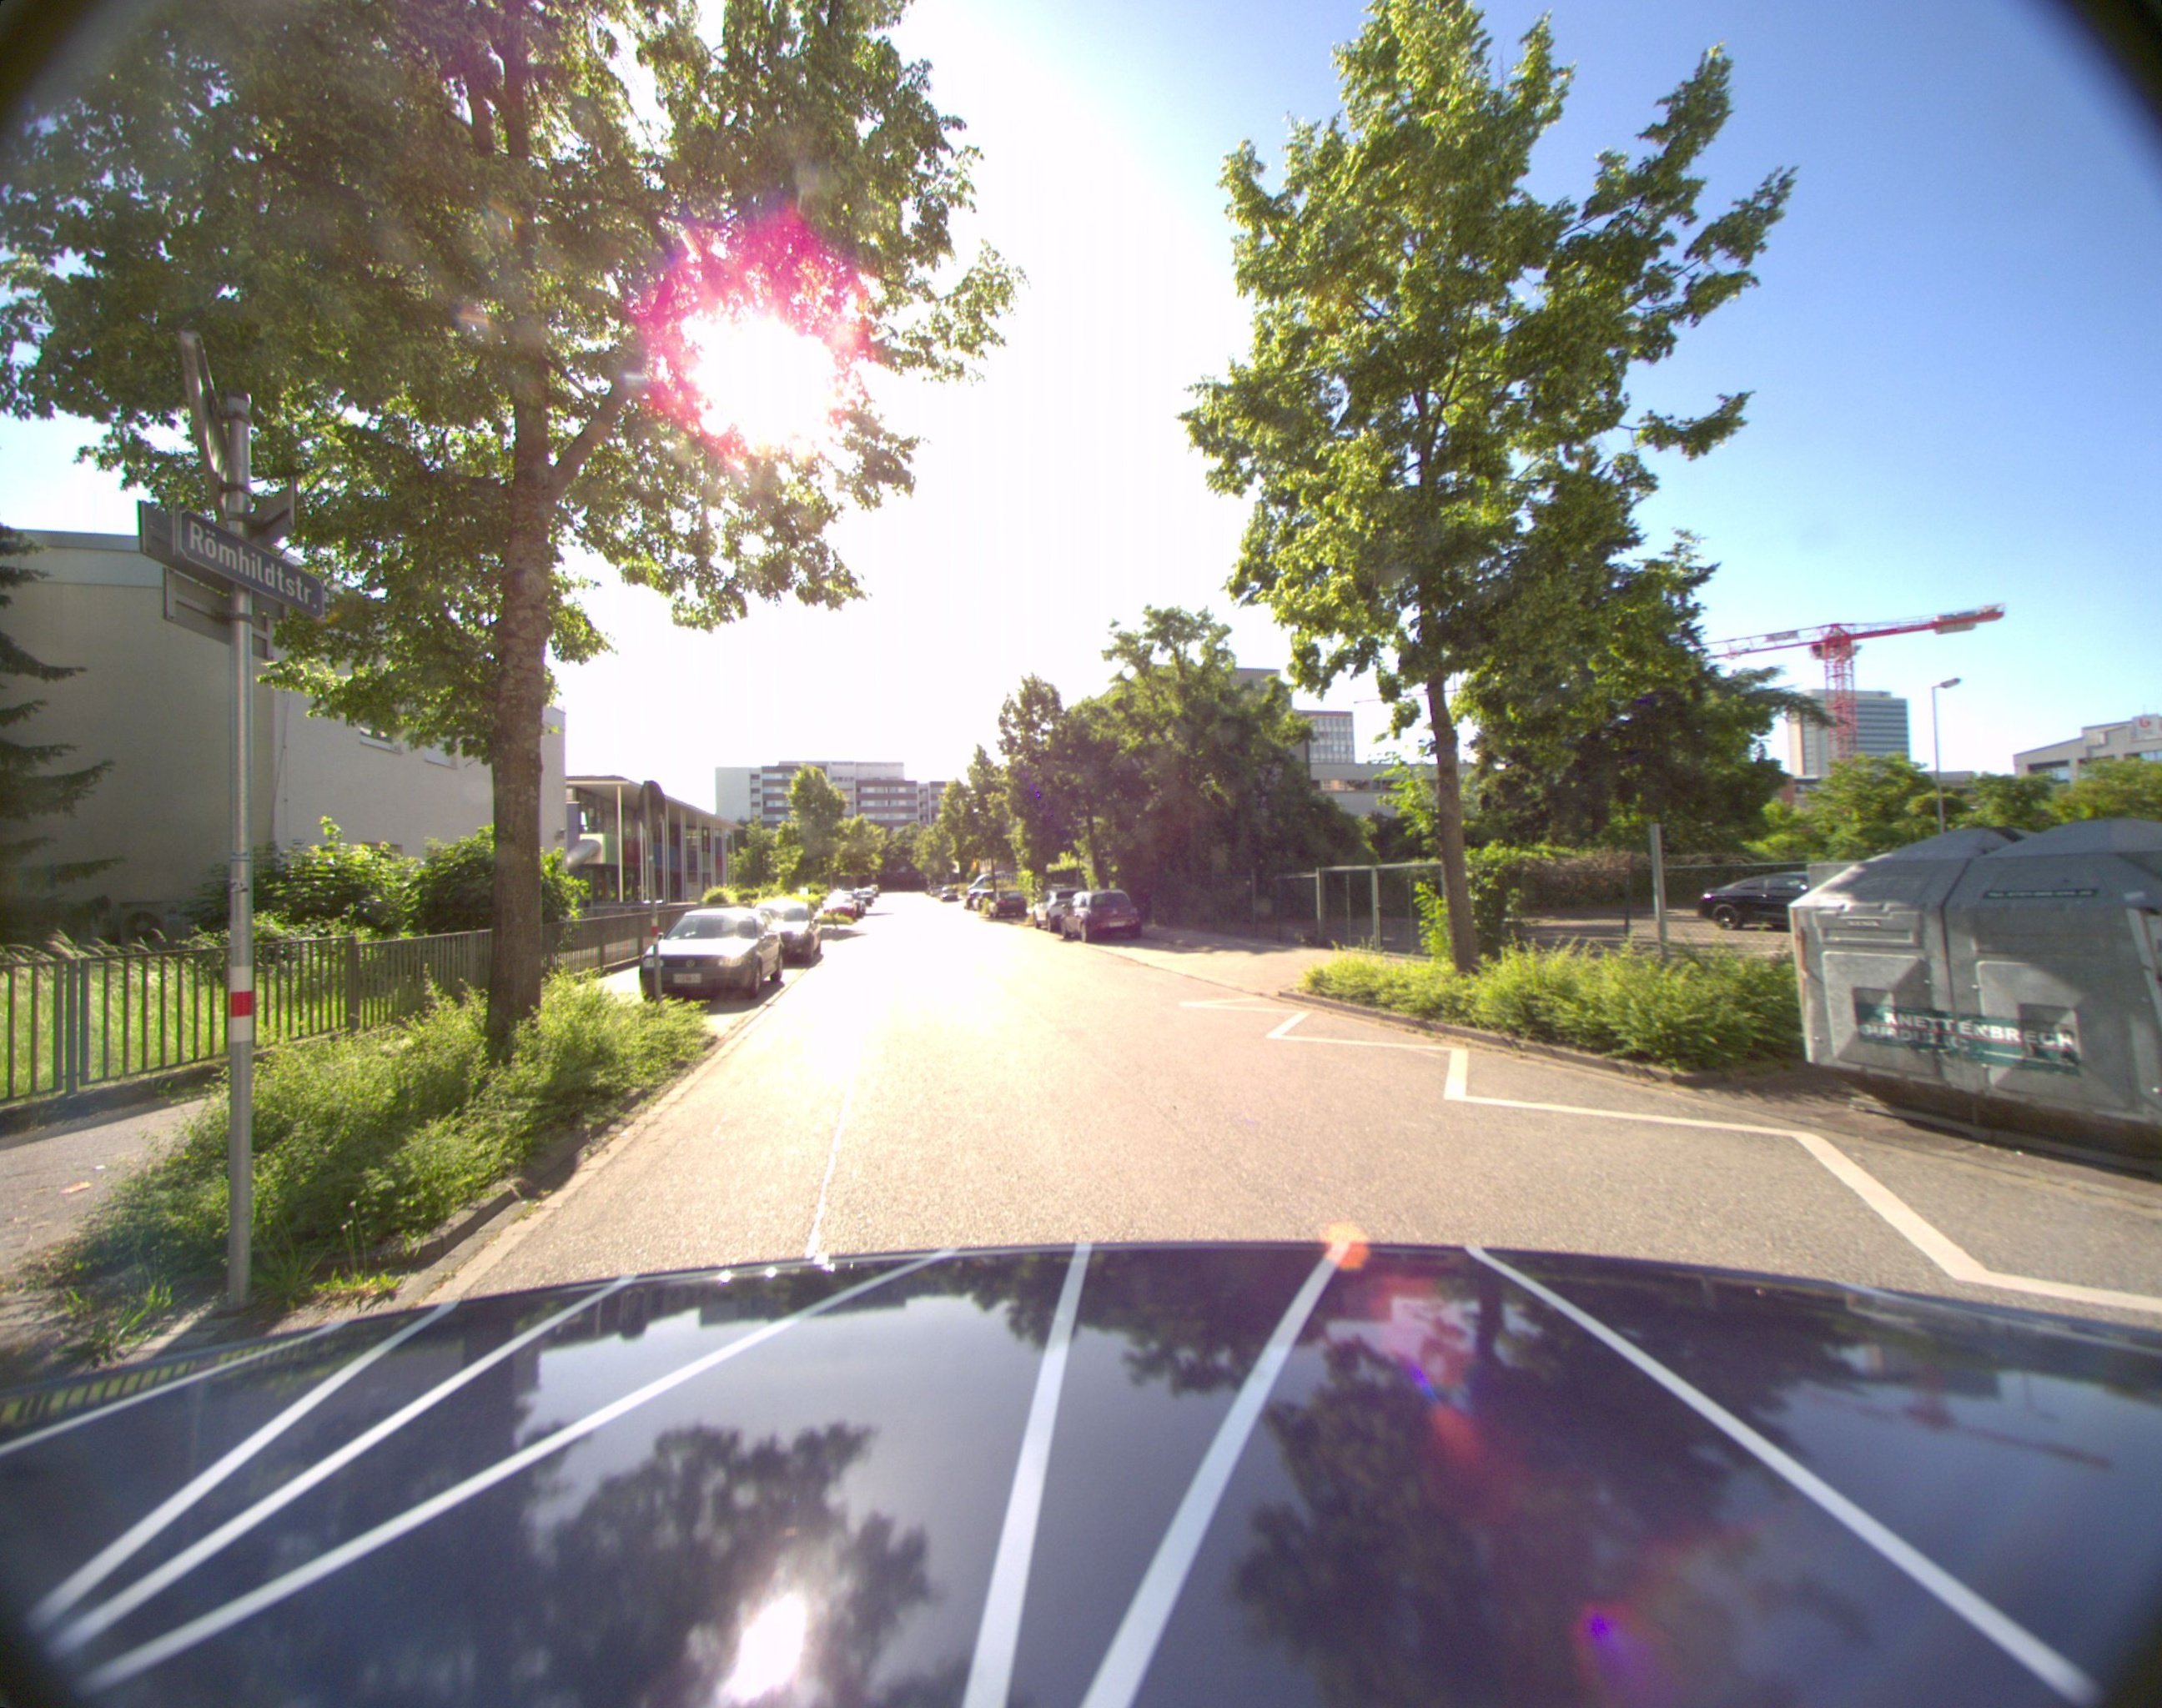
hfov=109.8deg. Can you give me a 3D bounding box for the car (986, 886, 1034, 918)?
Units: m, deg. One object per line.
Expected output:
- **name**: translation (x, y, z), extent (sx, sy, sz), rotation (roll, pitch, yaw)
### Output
- **car**: translation (-3.877, 2.517, 40.934), extent (1.847, 1.465, 4.356), rotation (-4, -1, -14)

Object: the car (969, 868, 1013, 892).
- **car**: translation (-11.469, 3.298, 96.553), extent (5.159, 2.885, 2.012), rotation (-1, -1, -18)

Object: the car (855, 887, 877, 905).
- **car**: translation (-20.536, 3.979, 72.801), extent (1.825, 1.637, 4.484), rotation (2, -2, -14)

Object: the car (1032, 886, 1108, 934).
- **car**: translation (-0.493, 1.983, 27.896), extent (1.847, 1.465, 3.998), rotation (-4, -1, -14)

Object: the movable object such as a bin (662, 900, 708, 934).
- **movable object such as a bin**: translation (-17.046, 2.685, 32.774), extent (1.371, 1.349, 1.630), rotation (-1, -2, -13)

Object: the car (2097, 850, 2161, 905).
- **car**: translation (32.086, 0.605, 21.063), extent (1.898, 1.550, 4.239), rotation (-2, -2, -14)

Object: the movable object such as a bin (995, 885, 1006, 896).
- **movable object such as a bin**: translation (-8.247, 3.744, 77.874), extent (0.863, 1.031, 0.677), rotation (-5, 0, -16)

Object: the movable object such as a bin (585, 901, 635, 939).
- **movable object such as a bin**: translation (-19.858, 2.762, 32.094), extent (1.335, 1.439, 1.630), rotation (-1, -2, -13)

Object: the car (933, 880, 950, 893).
- **car**: translation (-19.135, 4.426, 103.867), extent (1.797, 1.590, 3.885), rotation (-3, -1, -16)

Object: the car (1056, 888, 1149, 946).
- **car**: translation (0.562, 1.833, 22.937), extent (1.724, 1.465, 3.542), rotation (-4, -1, -16)

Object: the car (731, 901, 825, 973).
- **car**: translation (-7.732, 2.049, 19.706), extent (1.790, 1.506, 3.996), rotation (-1, -2, -15)

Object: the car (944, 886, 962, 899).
- **car**: translation (-13.315, 3.995, 79.088), extent (1.633, 1.240, 3.560), rotation (-2, -2, -13)

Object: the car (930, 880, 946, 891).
- **car**: translation (-21.213, 4.670, 112.529), extent (1.797, 1.509, 3.885), rotation (-3, -1, -16)

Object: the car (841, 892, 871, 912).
- **car**: translation (-16.377, 3.476, 55.242), extent (1.970, 1.311, 4.770), rotation (1, -2, -17)

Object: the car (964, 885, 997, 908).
- **car**: translation (-7.474, 3.115, 56.208), extent (1.847, 1.465, 4.096), rotation (-4, -1, -14)

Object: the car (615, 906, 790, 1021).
- **car**: translation (-6.454, 1.769, 13.511), extent (1.753, 1.413, 4.420), rotation (-2, -1, -13)

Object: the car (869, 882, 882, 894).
- **car**: translation (-28.640, 4.709, 105.959), extent (1.647, 1.458, 3.699), rotation (2, -1, -14)

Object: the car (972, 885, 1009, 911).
- **car**: translation (-6.035, 2.878, 50.299), extent (1.847, 1.465, 4.023), rotation (-4, -1, -14)

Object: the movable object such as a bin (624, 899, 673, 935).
- **movable object such as a bin**: translation (-18.450, 2.675, 32.482), extent (1.371, 1.439, 1.630), rotation (-1, -2, -13)

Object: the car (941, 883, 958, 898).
- **car**: translation (-14.647, 4.066, 84.534), extent (1.633, 1.515, 3.559), rotation (-2, -2, -14)

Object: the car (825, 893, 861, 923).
- **car**: translation (-13.399, 3.001, 42.891), extent (1.681, 1.494, 3.843), rotation (-2, -2, -15)

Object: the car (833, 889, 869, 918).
- **car**: translation (-14.643, 3.108, 48.562), extent (1.907, 1.672, 4.407), rotation (0, -2, -13)

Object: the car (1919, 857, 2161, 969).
- **car**: translation (16.590, 0.860, 11.751), extent (2.000, 1.599, 4.423), rotation (-2, -2, -11)
